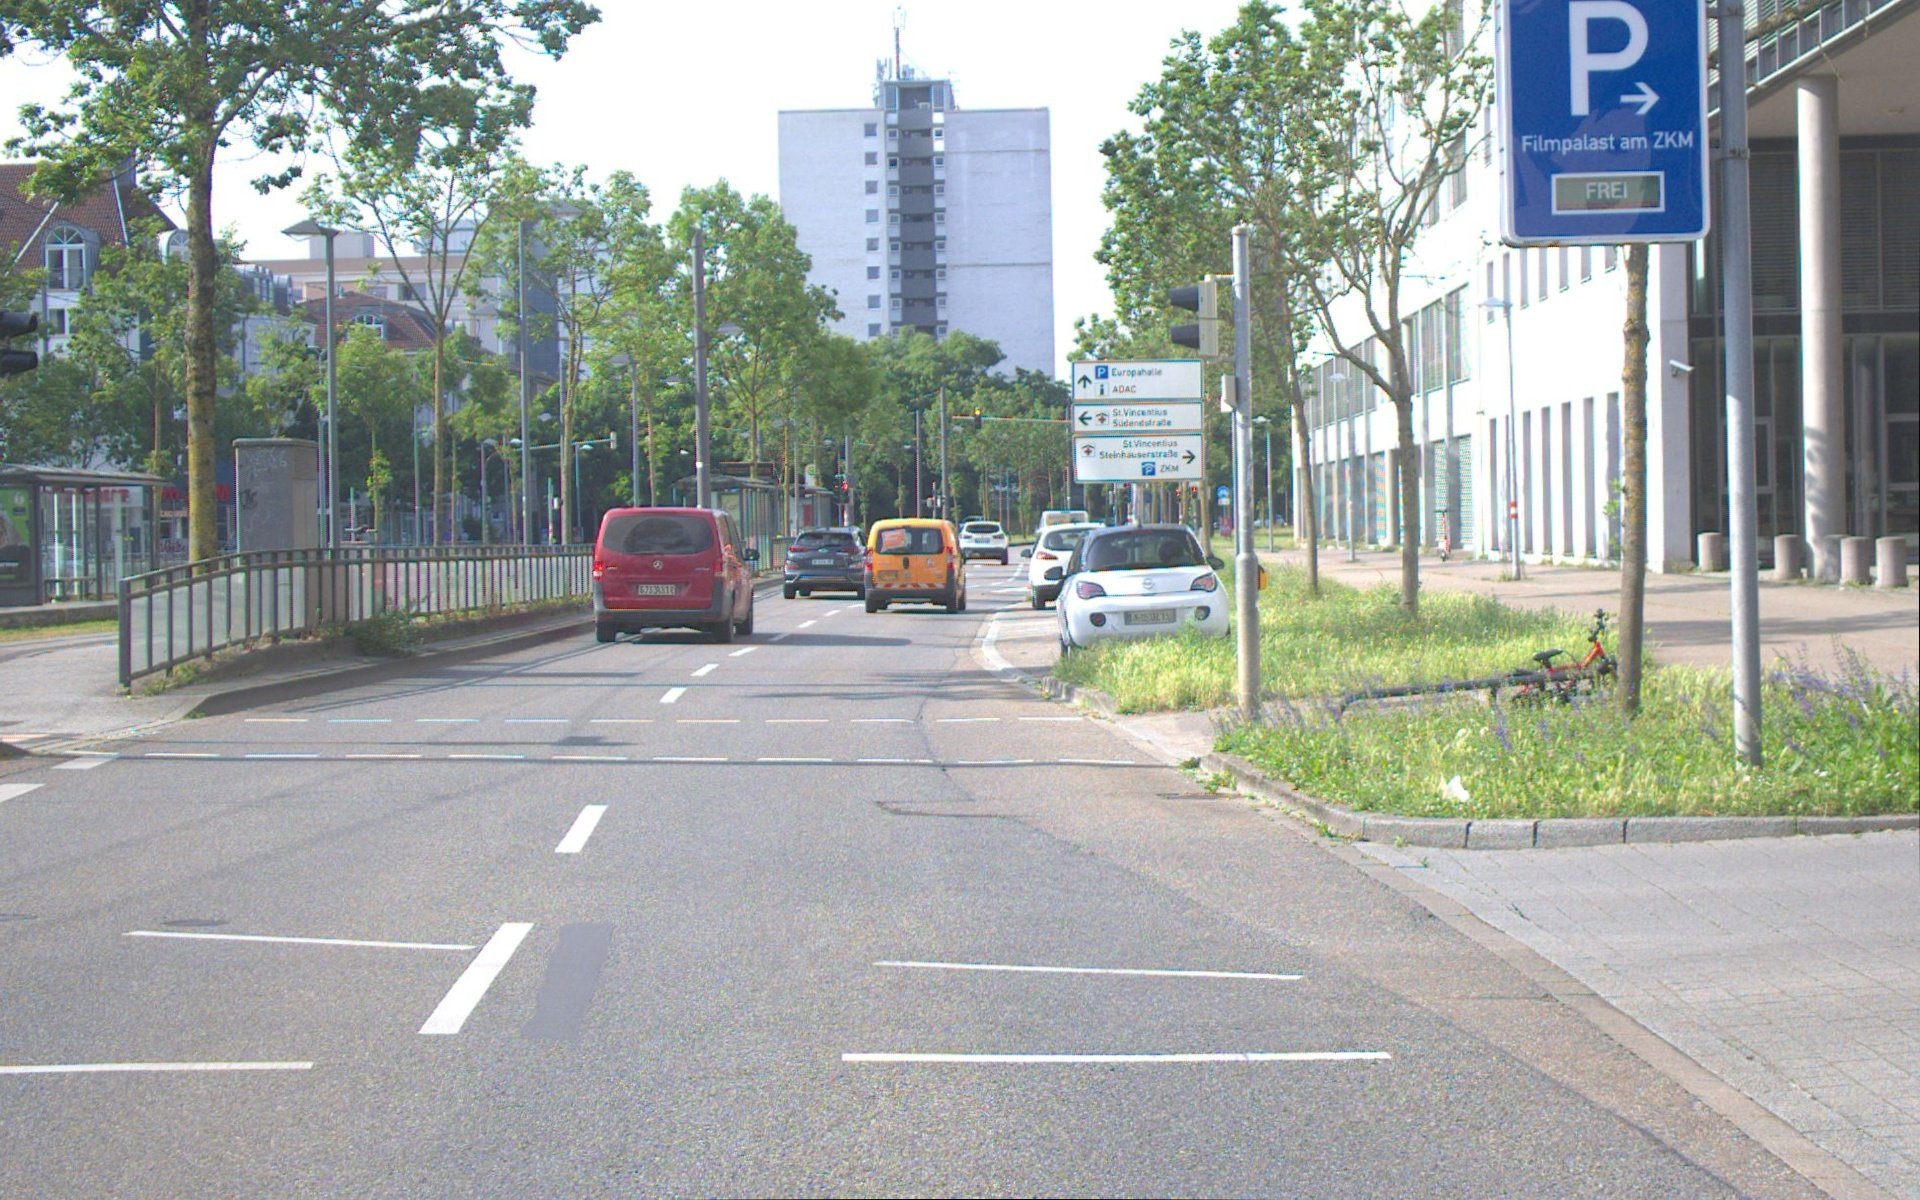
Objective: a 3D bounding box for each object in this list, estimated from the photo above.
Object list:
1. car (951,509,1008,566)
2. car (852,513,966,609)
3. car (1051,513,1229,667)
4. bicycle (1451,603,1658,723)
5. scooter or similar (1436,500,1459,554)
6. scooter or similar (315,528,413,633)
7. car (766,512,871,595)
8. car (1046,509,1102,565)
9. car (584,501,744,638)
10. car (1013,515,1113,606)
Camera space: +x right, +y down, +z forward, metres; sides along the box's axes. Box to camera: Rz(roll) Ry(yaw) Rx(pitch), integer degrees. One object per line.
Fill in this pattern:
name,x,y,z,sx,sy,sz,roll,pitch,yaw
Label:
car,0.708,-2.304,125.820,1.993,2.007,4.000,-1,1,0
car,-0.902,-0.742,63.323,1.876,1.690,3.973,-1,1,2
car,1.883,-0.144,36.874,1.720,1.514,3.781,-1,2,1
bicycle,3.921,0.411,22.720,1.271,0.630,0.521,-7,0,9
scooter or similar,11.196,-1.688,78.996,0.462,1.209,1.254,-2,1,7
scooter or similar,-7.204,-0.244,41.602,0.427,1.234,1.260,-1,1,29
car,-3.032,-1.018,74.392,1.993,1.700,4.000,-1,1,1
car,4.194,-2.338,126.790,1.993,2.007,4.000,-1,1,2
car,-4.137,-0.458,48.544,1.874,1.847,4.000,-1,1,0
car,1.883,-0.747,62.953,1.689,1.521,3.851,-3,1,2
